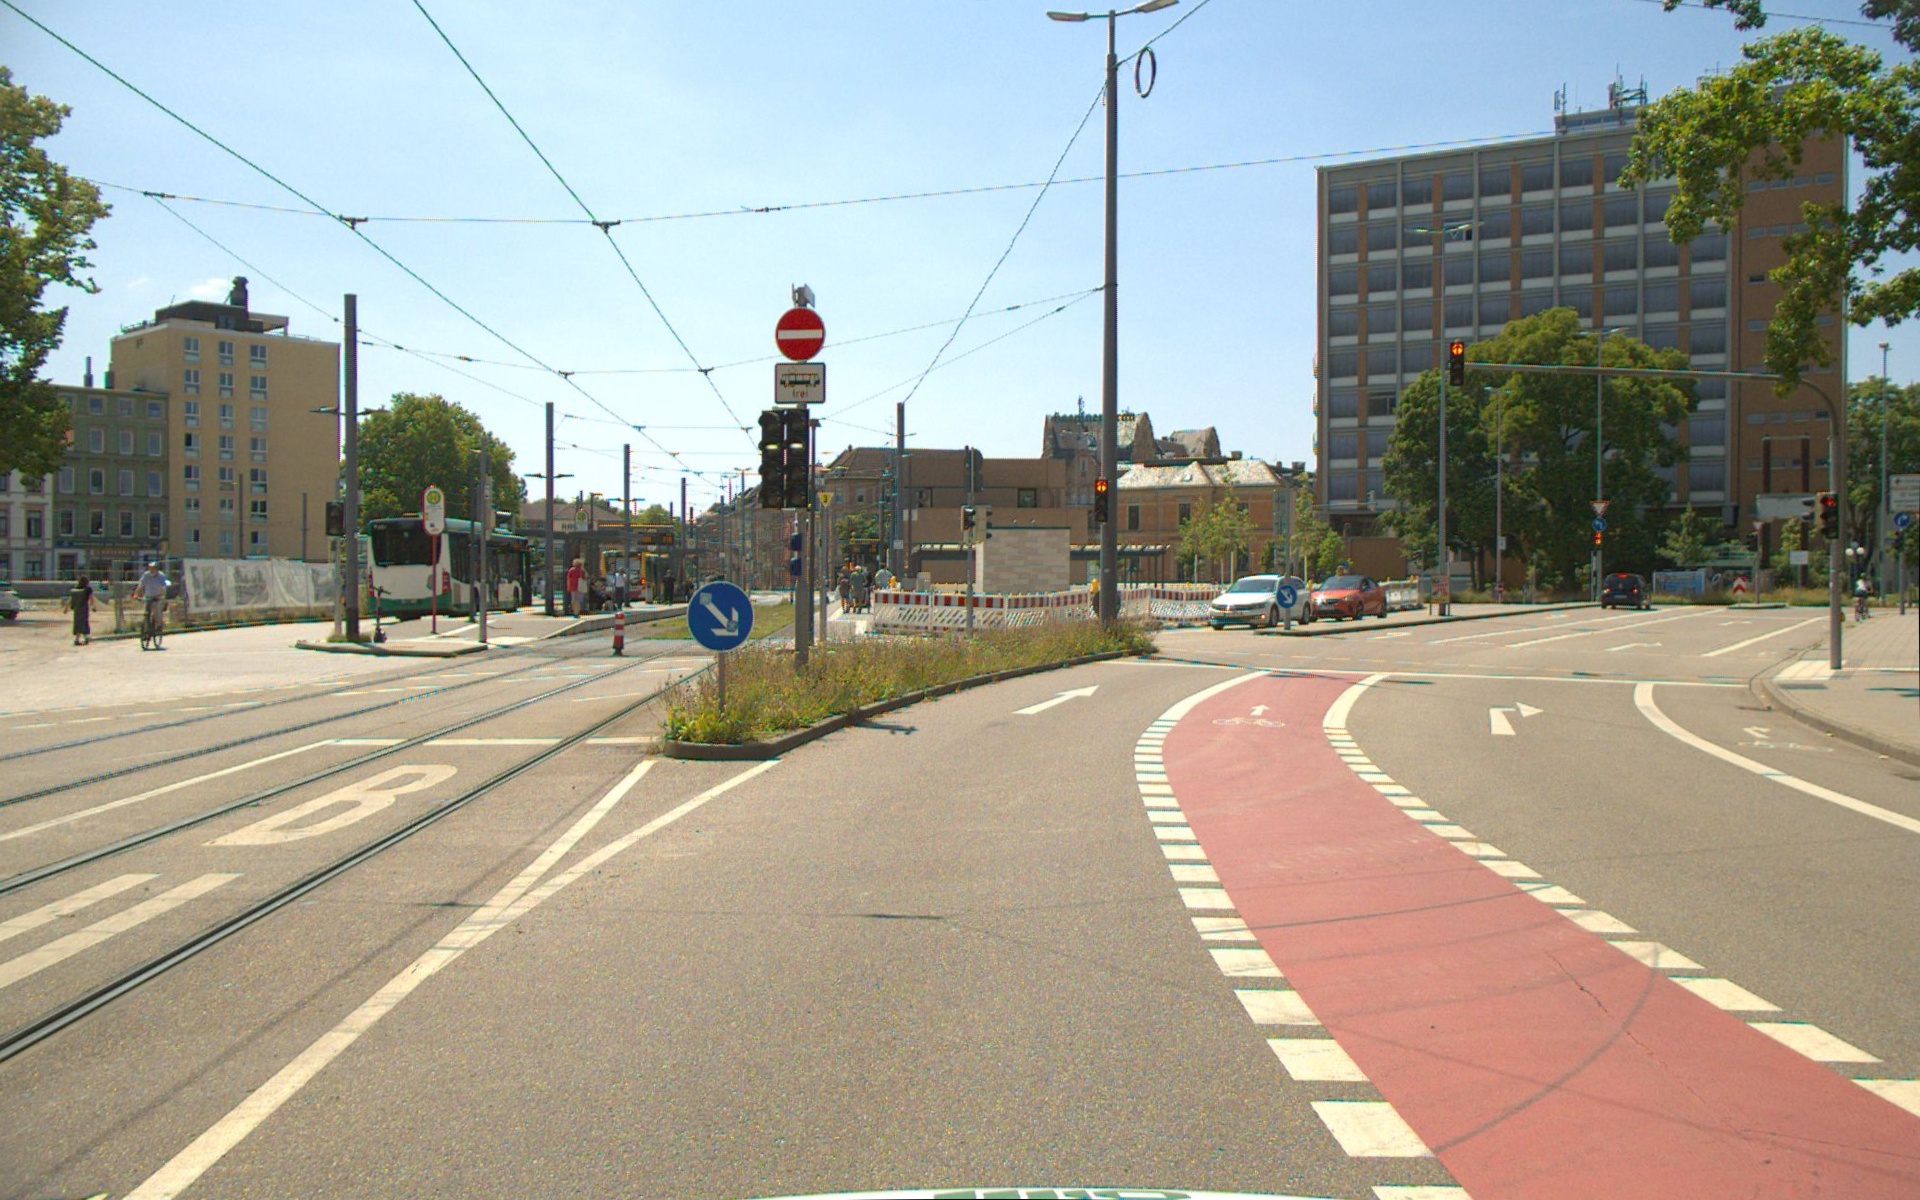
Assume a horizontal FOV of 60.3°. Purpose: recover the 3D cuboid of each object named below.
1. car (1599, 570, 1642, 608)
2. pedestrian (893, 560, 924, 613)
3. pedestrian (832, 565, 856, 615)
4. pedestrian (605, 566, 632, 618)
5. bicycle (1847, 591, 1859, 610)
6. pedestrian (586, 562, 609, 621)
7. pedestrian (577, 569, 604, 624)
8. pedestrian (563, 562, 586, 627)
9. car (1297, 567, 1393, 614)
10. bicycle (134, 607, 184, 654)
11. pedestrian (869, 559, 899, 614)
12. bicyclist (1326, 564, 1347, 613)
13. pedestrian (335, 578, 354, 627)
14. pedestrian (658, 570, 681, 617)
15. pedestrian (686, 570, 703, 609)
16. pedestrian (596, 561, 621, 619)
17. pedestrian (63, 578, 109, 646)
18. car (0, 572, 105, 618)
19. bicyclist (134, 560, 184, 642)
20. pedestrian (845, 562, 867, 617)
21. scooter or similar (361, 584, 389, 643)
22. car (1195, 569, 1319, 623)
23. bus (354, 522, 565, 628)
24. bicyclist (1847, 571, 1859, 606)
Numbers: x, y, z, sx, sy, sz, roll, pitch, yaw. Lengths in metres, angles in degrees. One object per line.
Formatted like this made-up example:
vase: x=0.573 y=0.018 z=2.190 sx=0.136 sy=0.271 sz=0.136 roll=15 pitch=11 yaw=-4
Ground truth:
car: x=28.119 y=-0.482 z=70.469 sx=1.654 sy=1.553 sz=3.690 roll=0 pitch=1 yaw=22
pedestrian: x=-1.853 y=-0.475 z=59.029 sx=0.962 sy=1.864 sz=0.630 roll=-1 pitch=1 yaw=-18
pedestrian: x=-4.118 y=-0.352 z=58.487 sx=0.714 sy=1.736 sz=0.741 roll=0 pitch=0 yaw=-15
pedestrian: x=-14.133 y=-0.321 z=68.453 sx=0.880 sy=2.133 sz=0.832 roll=0 pitch=1 yaw=2
bicycle: x=32.476 y=0.016 z=60.146 sx=0.369 sy=0.657 sz=1.642 roll=0 pitch=1 yaw=27
pedestrian: x=-13.217 y=-0.329 z=60.320 sx=0.810 sy=2.133 sz=0.639 roll=-1 pitch=1 yaw=-15
pedestrian: x=-12.904 y=-0.119 z=57.766 sx=0.896 sy=1.884 sz=0.656 roll=-1 pitch=1 yaw=-13
pedestrian: x=-11.594 y=-0.171 z=49.755 sx=0.661 sy=1.943 sz=0.638 roll=0 pitch=1 yaw=-13
car: x=12.398 y=-0.312 z=53.132 sx=1.700 sy=1.449 sz=4.112 roll=0 pitch=0 yaw=33
bicycle: x=-17.353 y=0.649 z=35.855 sx=0.495 sy=0.930 sz=2.362 roll=0 pitch=1 yaw=-14
pedestrian: x=-2.650 y=-0.456 z=57.727 sx=0.761 sy=1.897 sz=0.718 roll=1 pitch=-1 yaw=-44
bicyclist: x=13.376 y=-0.405 z=58.746 sx=0.558 sy=1.749 sz=0.505 roll=0 pitch=1 yaw=38
pedestrian: x=-21.719 y=0.077 z=58.338 sx=0.556 sy=1.735 sz=0.396 roll=0 pitch=1 yaw=-11
pedestrian: x=-13.475 y=-0.310 z=76.637 sx=0.880 sy=2.133 sz=0.832 roll=0 pitch=1 yaw=2
pedestrian: x=-14.652 y=-0.577 z=91.399 sx=0.812 sy=2.133 sz=0.901 roll=0 pitch=1 yaw=-4
pedestrian: x=-13.029 y=-0.372 z=61.264 sx=0.884 sy=2.133 sz=0.828 roll=-1 pitch=1 yaw=-15
pedestrian: x=-21.115 y=0.290 z=39.964 sx=0.593 sy=1.630 sz=0.826 roll=0 pitch=1 yaw=7
car: x=-34.197 y=-0.191 z=61.344 sx=4.093 sy=1.678 sz=1.853 roll=0 pitch=1 yaw=9
bicyclist: x=-17.345 y=0.017 z=35.828 sx=0.807 sy=1.739 sz=0.767 roll=0 pitch=1 yaw=-15
pedestrian: x=-3.759 y=-0.370 z=59.661 sx=0.705 sy=1.957 sz=1.072 roll=0 pitch=0 yaw=-8
scooter or similar: x=-12.419 y=0.275 z=35.129 sx=0.312 sy=1.227 sz=1.246 roll=0 pitch=1 yaw=-8
car: x=8.521 y=-0.121 z=47.082 sx=1.957 sy=1.463 sz=4.695 roll=0 pitch=0 yaw=31
bus: x=-17.351 y=-0.889 z=59.176 sx=2.950 sy=3.213 sz=17.490 roll=0 pitch=1 yaw=-2
bicyclist: x=32.500 y=-0.421 z=60.199 sx=0.345 sy=1.249 sz=0.563 roll=0 pitch=1 yaw=26
